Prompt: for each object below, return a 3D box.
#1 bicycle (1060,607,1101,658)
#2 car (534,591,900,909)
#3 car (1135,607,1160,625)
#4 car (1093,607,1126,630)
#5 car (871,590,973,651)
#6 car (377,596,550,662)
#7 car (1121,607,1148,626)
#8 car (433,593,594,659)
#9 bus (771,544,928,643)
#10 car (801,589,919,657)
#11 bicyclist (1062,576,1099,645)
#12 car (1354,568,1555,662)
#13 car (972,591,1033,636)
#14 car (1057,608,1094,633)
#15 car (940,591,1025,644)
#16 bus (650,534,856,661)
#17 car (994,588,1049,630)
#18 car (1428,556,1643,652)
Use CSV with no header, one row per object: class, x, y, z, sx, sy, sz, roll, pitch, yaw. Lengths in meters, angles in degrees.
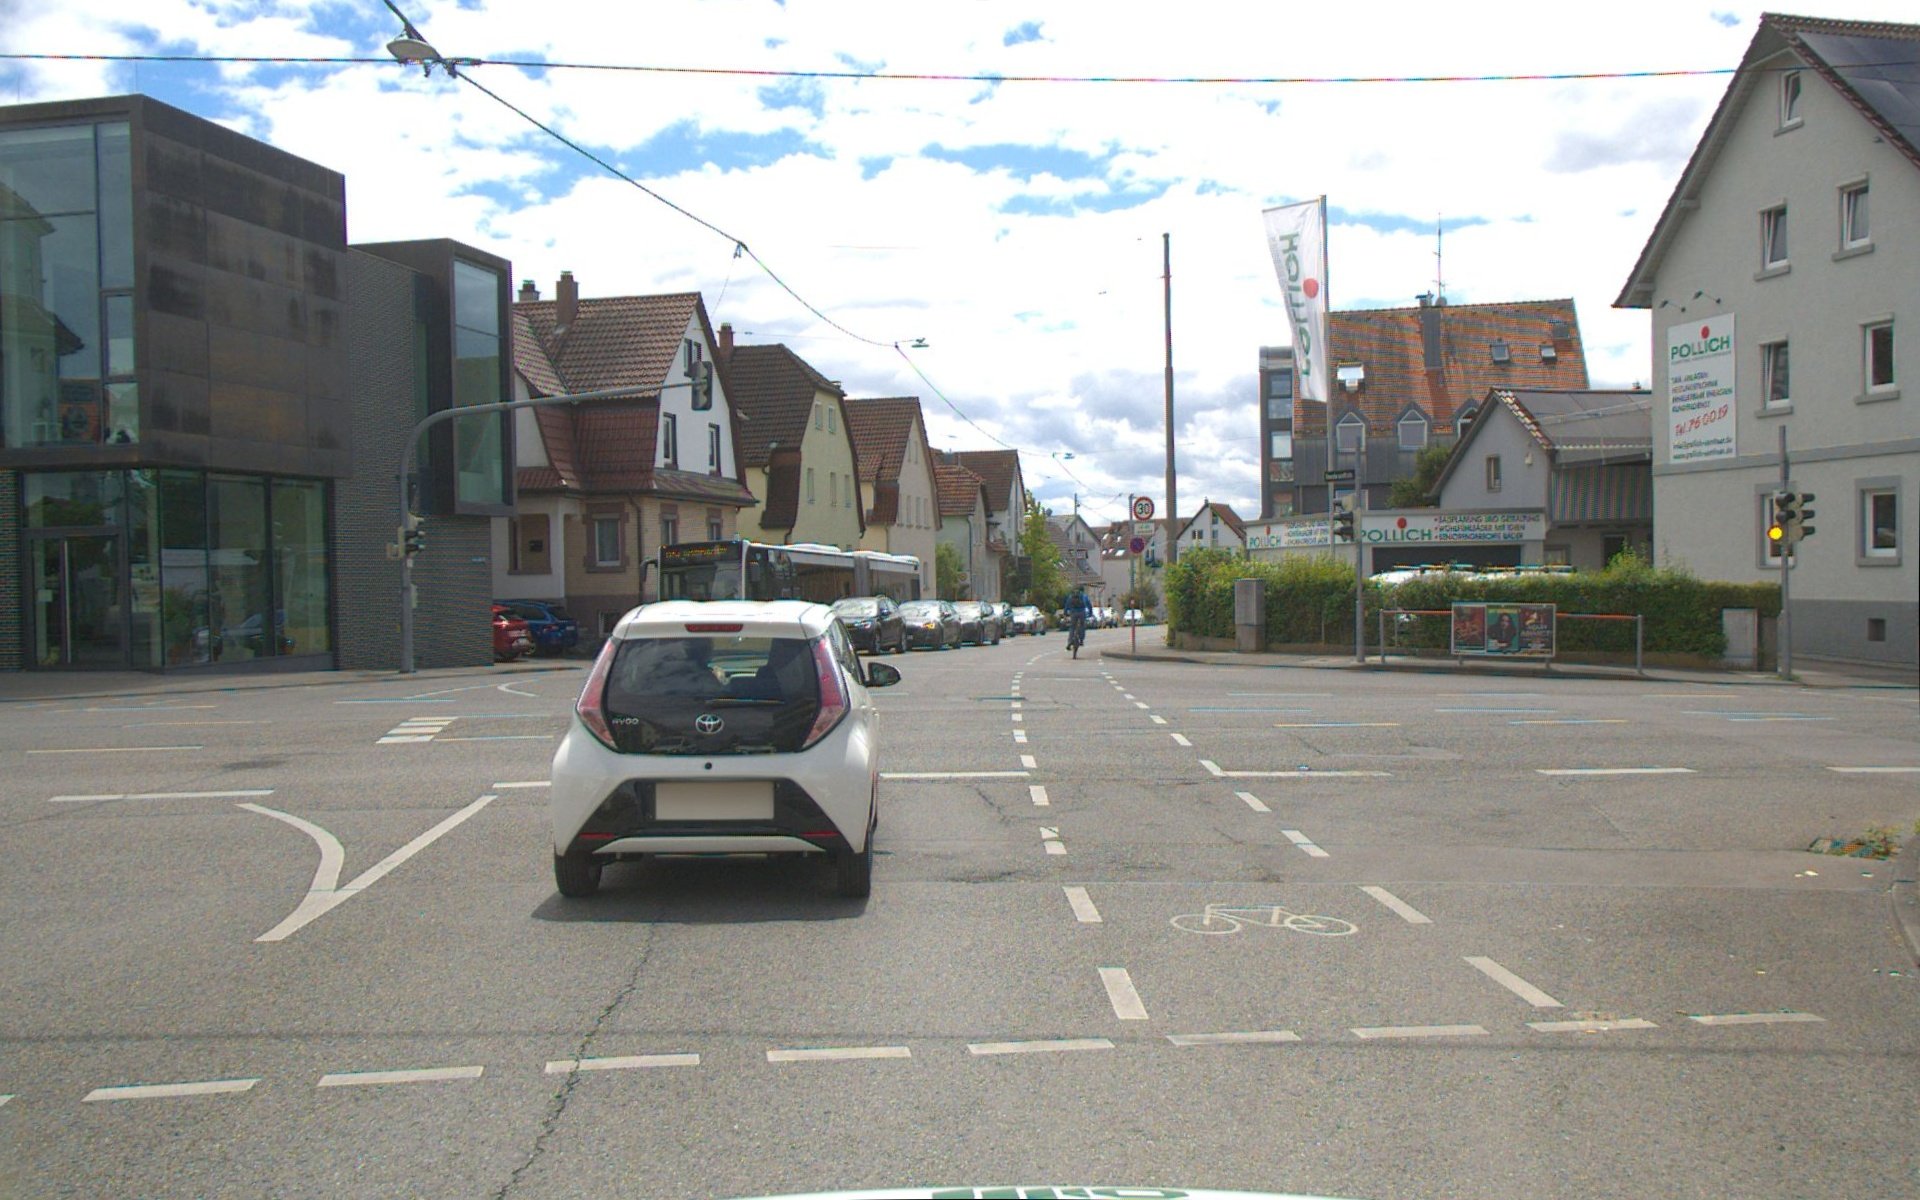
bicycle,2.922,0.770,40.346,0.815,1.184,2.191,0,0,0
car,-1.213,0.698,9.606,1.703,1.486,3.531,0,0,-2
car,18.343,1.564,161.641,1.951,1.668,4.003,0,0,14
car,11.694,1.446,129.219,1.951,1.668,4.003,0,0,14
car,-1.046,0.552,48.128,1.951,1.668,4.187,0,0,14
car,-13.201,0.743,44.077,3.902,1.668,2.002,1,0,10
car,15.961,1.524,151.450,1.951,1.668,4.003,0,0,14
car,-12.638,0.704,46.965,3.902,1.713,2.002,1,1,10
bus,-3.429,-0.235,54.344,2.718,2.965,9.199,0,0,12
car,-2.541,0.563,42.972,1.951,1.668,4.003,0,0,14
bicyclist,2.923,0.253,40.324,0.823,1.642,1.083,0,0,0
car,11.222,0.314,37.651,3.916,2.049,1.994,0,0,-12
car,2.068,0.629,79.070,1.951,2.049,4.003,0,0,16
car,8.032,1.385,114.899,1.951,1.668,4.003,0,0,14
car,0.787,0.542,54.906,1.951,1.668,4.003,0,0,14
bus,-5.414,-0.109,45.323,2.718,3.113,9.199,0,0,12
car,3.119,0.412,83.006,1.951,2.049,4.003,0,0,14
car,12.310,0.071,35.458,3.917,1.982,1.994,0,0,-13
